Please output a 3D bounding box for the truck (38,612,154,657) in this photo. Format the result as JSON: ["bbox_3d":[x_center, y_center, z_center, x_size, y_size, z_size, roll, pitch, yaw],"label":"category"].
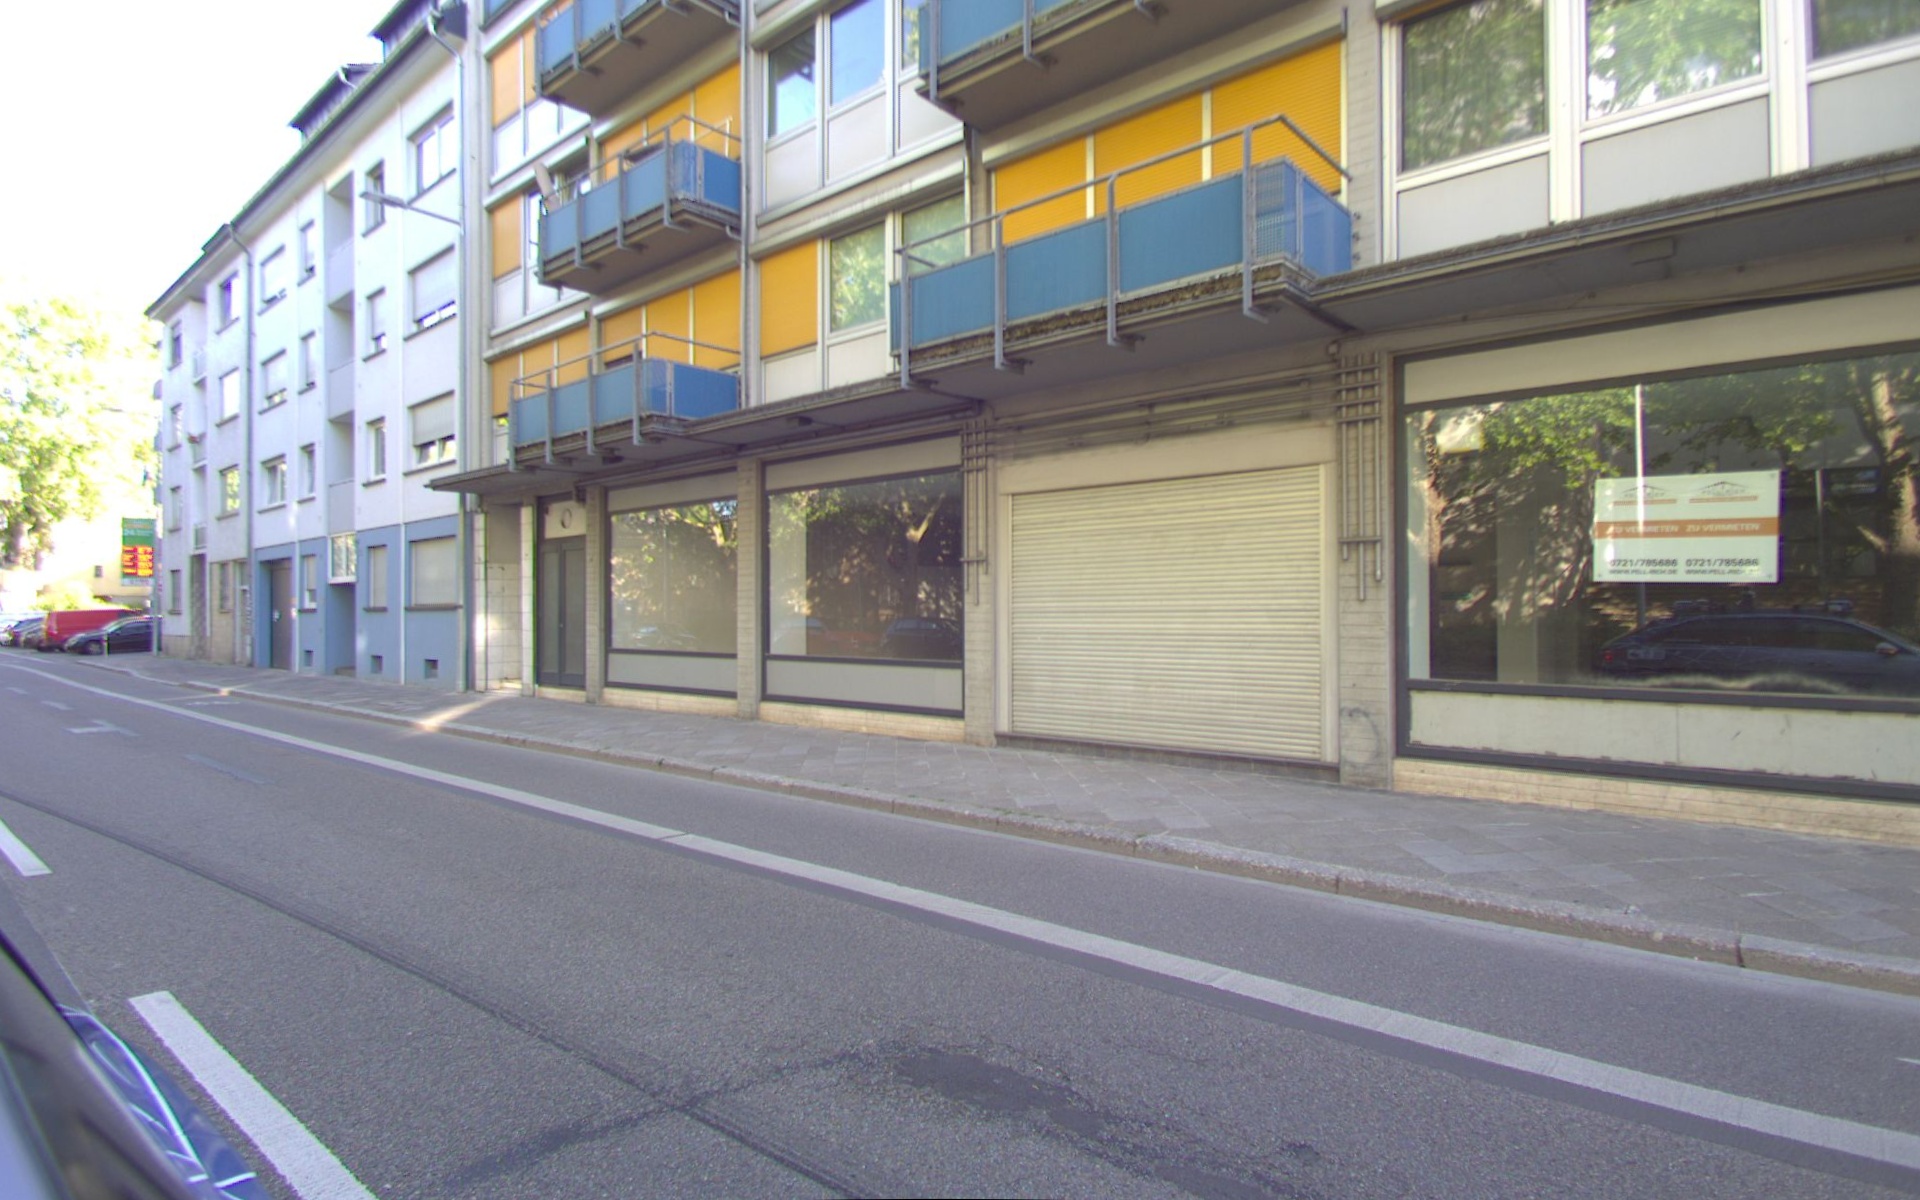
[{"bbox_3d":[-40.506,1.571,47.498,1.761,1.951,3.944,-1,0,42],"label":"truck"}]

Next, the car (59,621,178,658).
[{"bbox_3d":[-38.115,1.759,45.907,1.761,1.514,3.944,-1,0,42],"label":"car"}]

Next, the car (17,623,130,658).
[{"bbox_3d":[-42.916,1.904,49.046,1.761,1.514,3.944,-1,0,42],"label":"car"}]

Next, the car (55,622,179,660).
[{"bbox_3d":[-36.635,1.762,44.019,1.761,1.468,3.944,-1,0,42],"label":"car"}]
